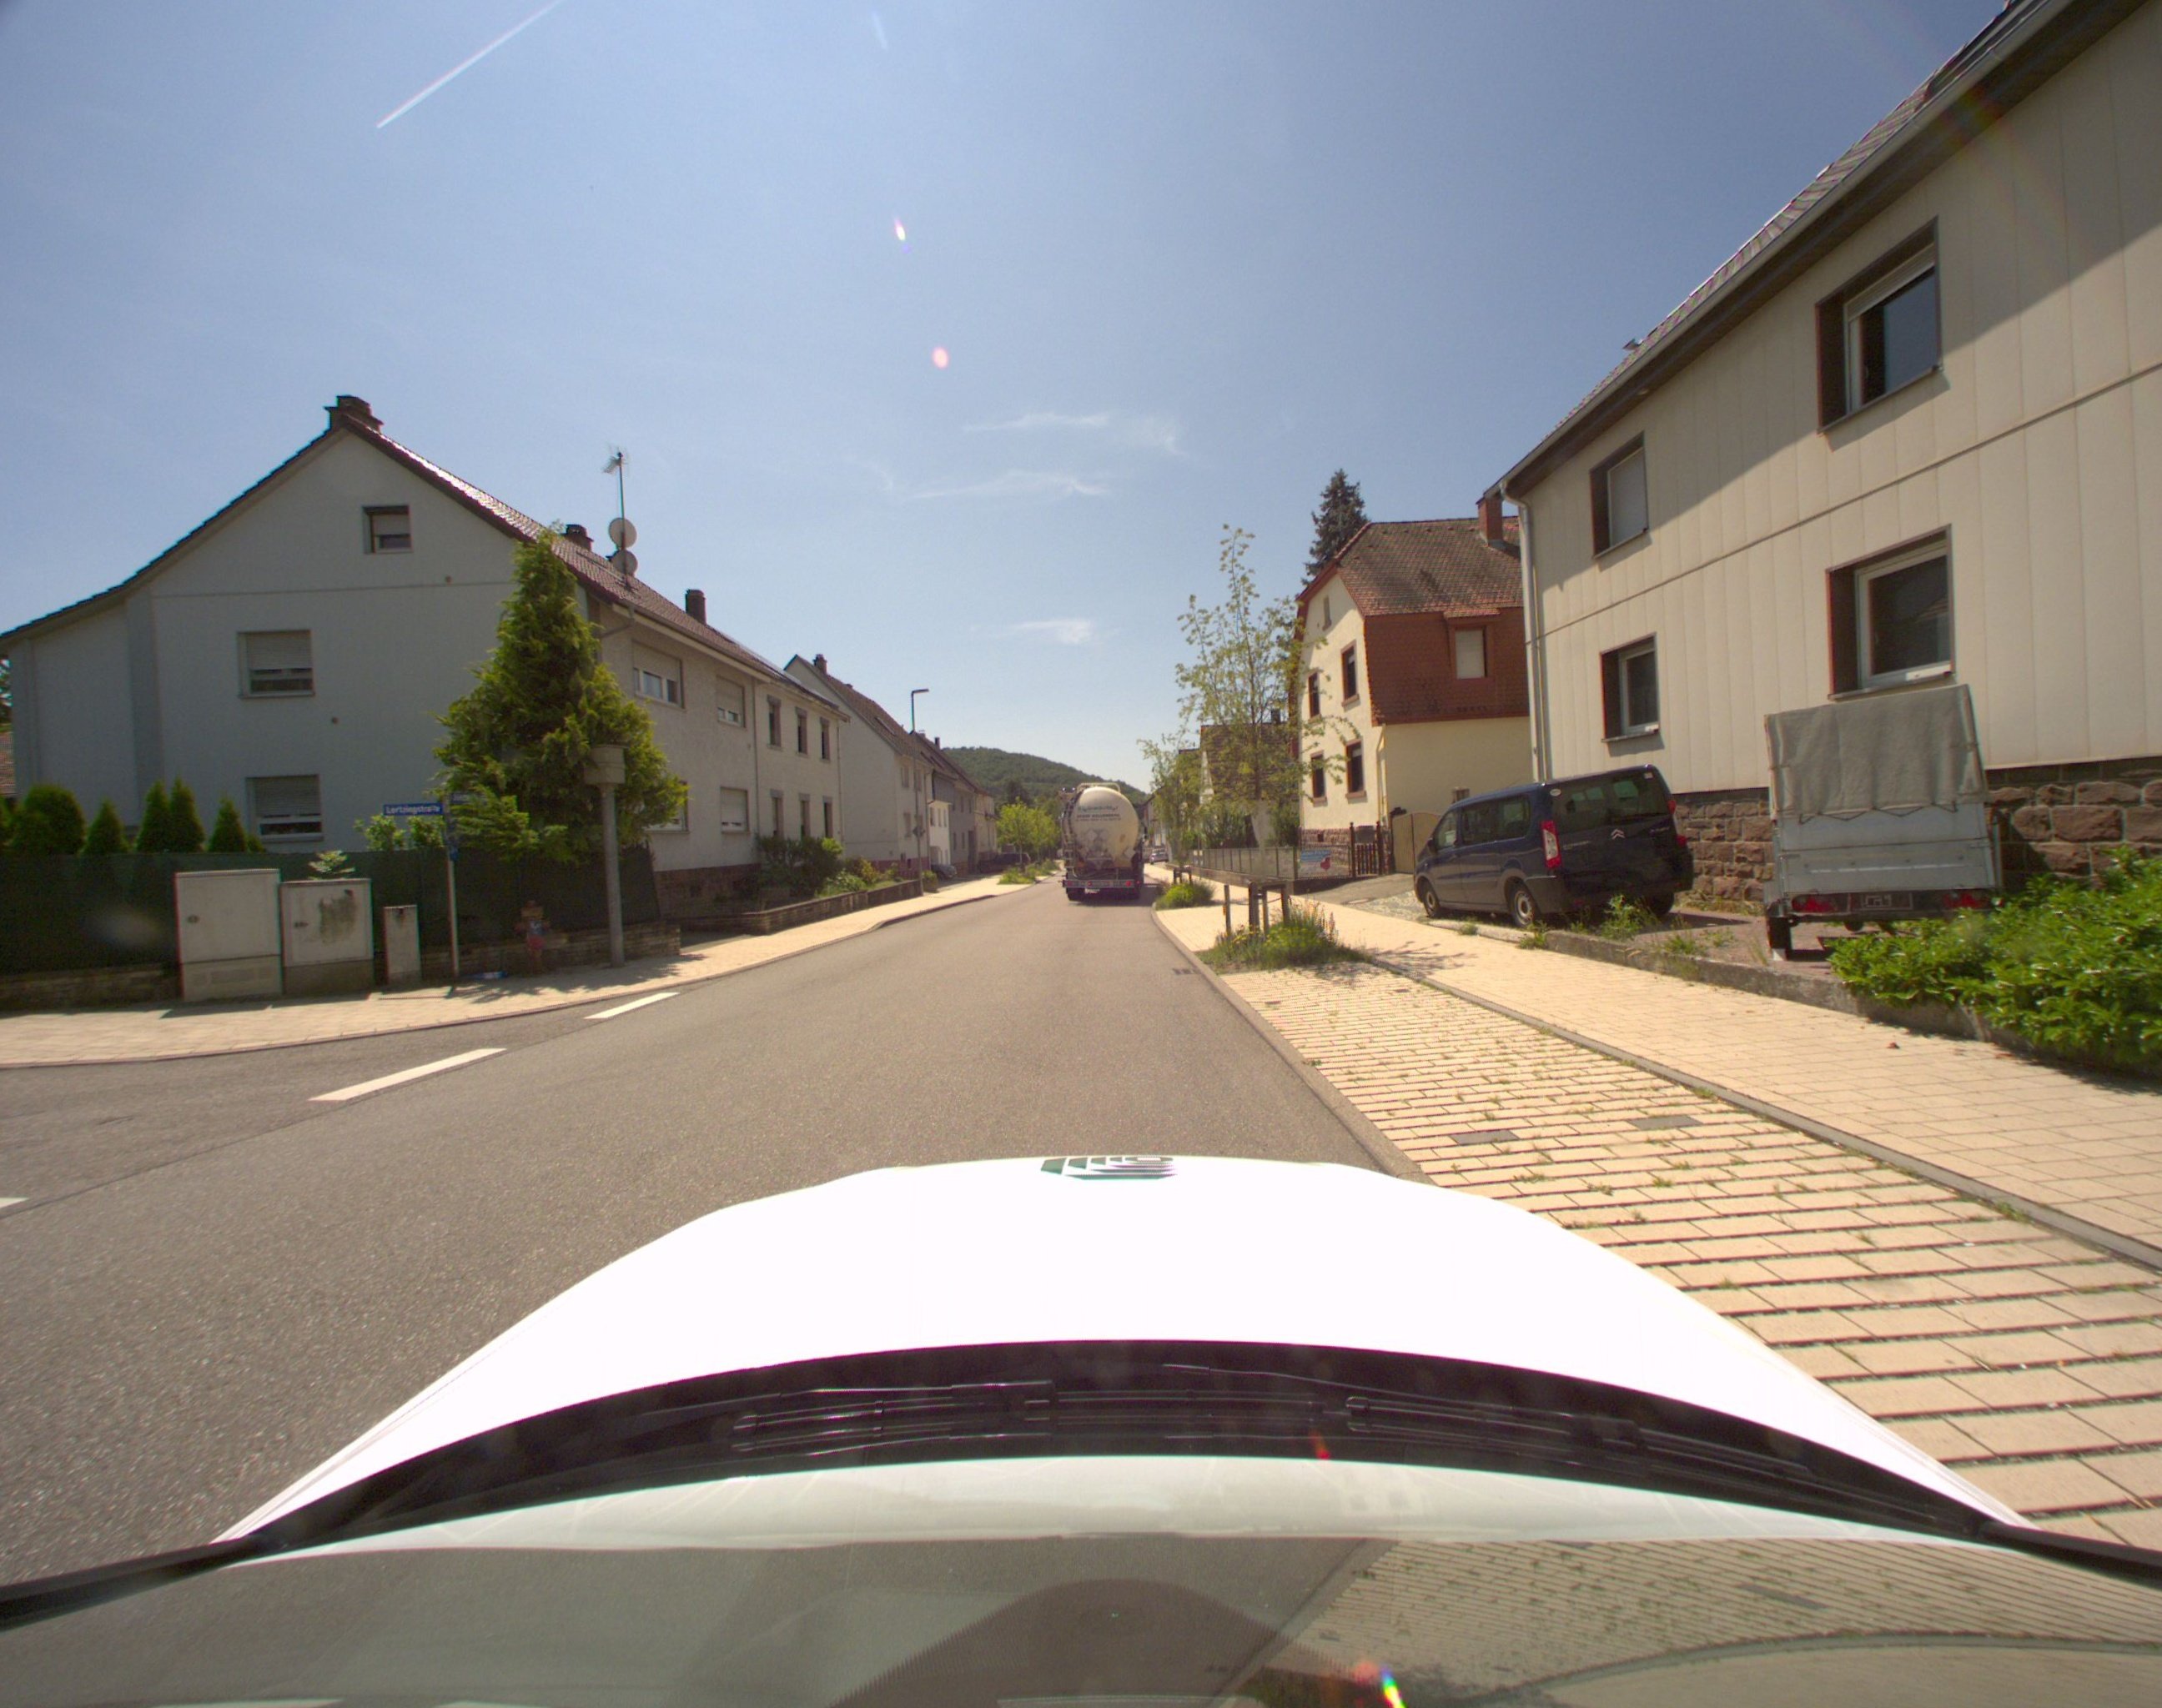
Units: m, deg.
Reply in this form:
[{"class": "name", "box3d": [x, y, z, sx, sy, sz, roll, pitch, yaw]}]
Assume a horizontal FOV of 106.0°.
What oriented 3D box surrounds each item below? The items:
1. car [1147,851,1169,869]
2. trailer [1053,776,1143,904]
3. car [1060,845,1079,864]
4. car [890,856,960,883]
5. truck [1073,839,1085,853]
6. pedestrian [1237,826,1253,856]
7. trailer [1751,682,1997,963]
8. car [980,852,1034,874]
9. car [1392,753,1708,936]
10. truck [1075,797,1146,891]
[{"class": "car", "box3d": [7.563, 0.602, 80.402, 1.784, 1.541, 4.522, -5, 0, 2]}, {"class": "trailer", "box3d": [0.924, -0.434, 30.893, 2.783, 4.001, 10.335, -1, 0, 4]}, {"class": "car", "box3d": [-1.170, 0.024, 86.437, 1.883, 1.861, 4.578, 1, 0, 1]}, {"class": "car", "box3d": [-9.778, 0.961, 51.363, 3.973, 1.545, 1.833, -2, 0, 1]}, {"class": "truck", "box3d": [-0.499, -1.926, 200.350, 2.719, 3.371, 8.635, -1, 0, 1]}, {"class": "pedestrian", "box3d": [9.334, -0.748, 46.445, 0.602, 1.615, 0.552, -7, 0, 1]}, {"class": "trailer", "box3d": [6.808, -0.232, 7.102, 1.307, 2.013, 2.287, -2, 0, 43]}, {"class": "car", "box3d": [-6.348, 0.740, 70.091, 4.380, 1.750, 1.878, -2, 0, 0]}, {"class": "car", "box3d": [6.464, -0.112, 12.043, 1.845, 1.970, 4.775, -7, 0, 2]}, {"class": "truck", "box3d": [1.480, -0.413, 37.264, 2.794, 3.937, 6.109, -1, 0, 6]}]
